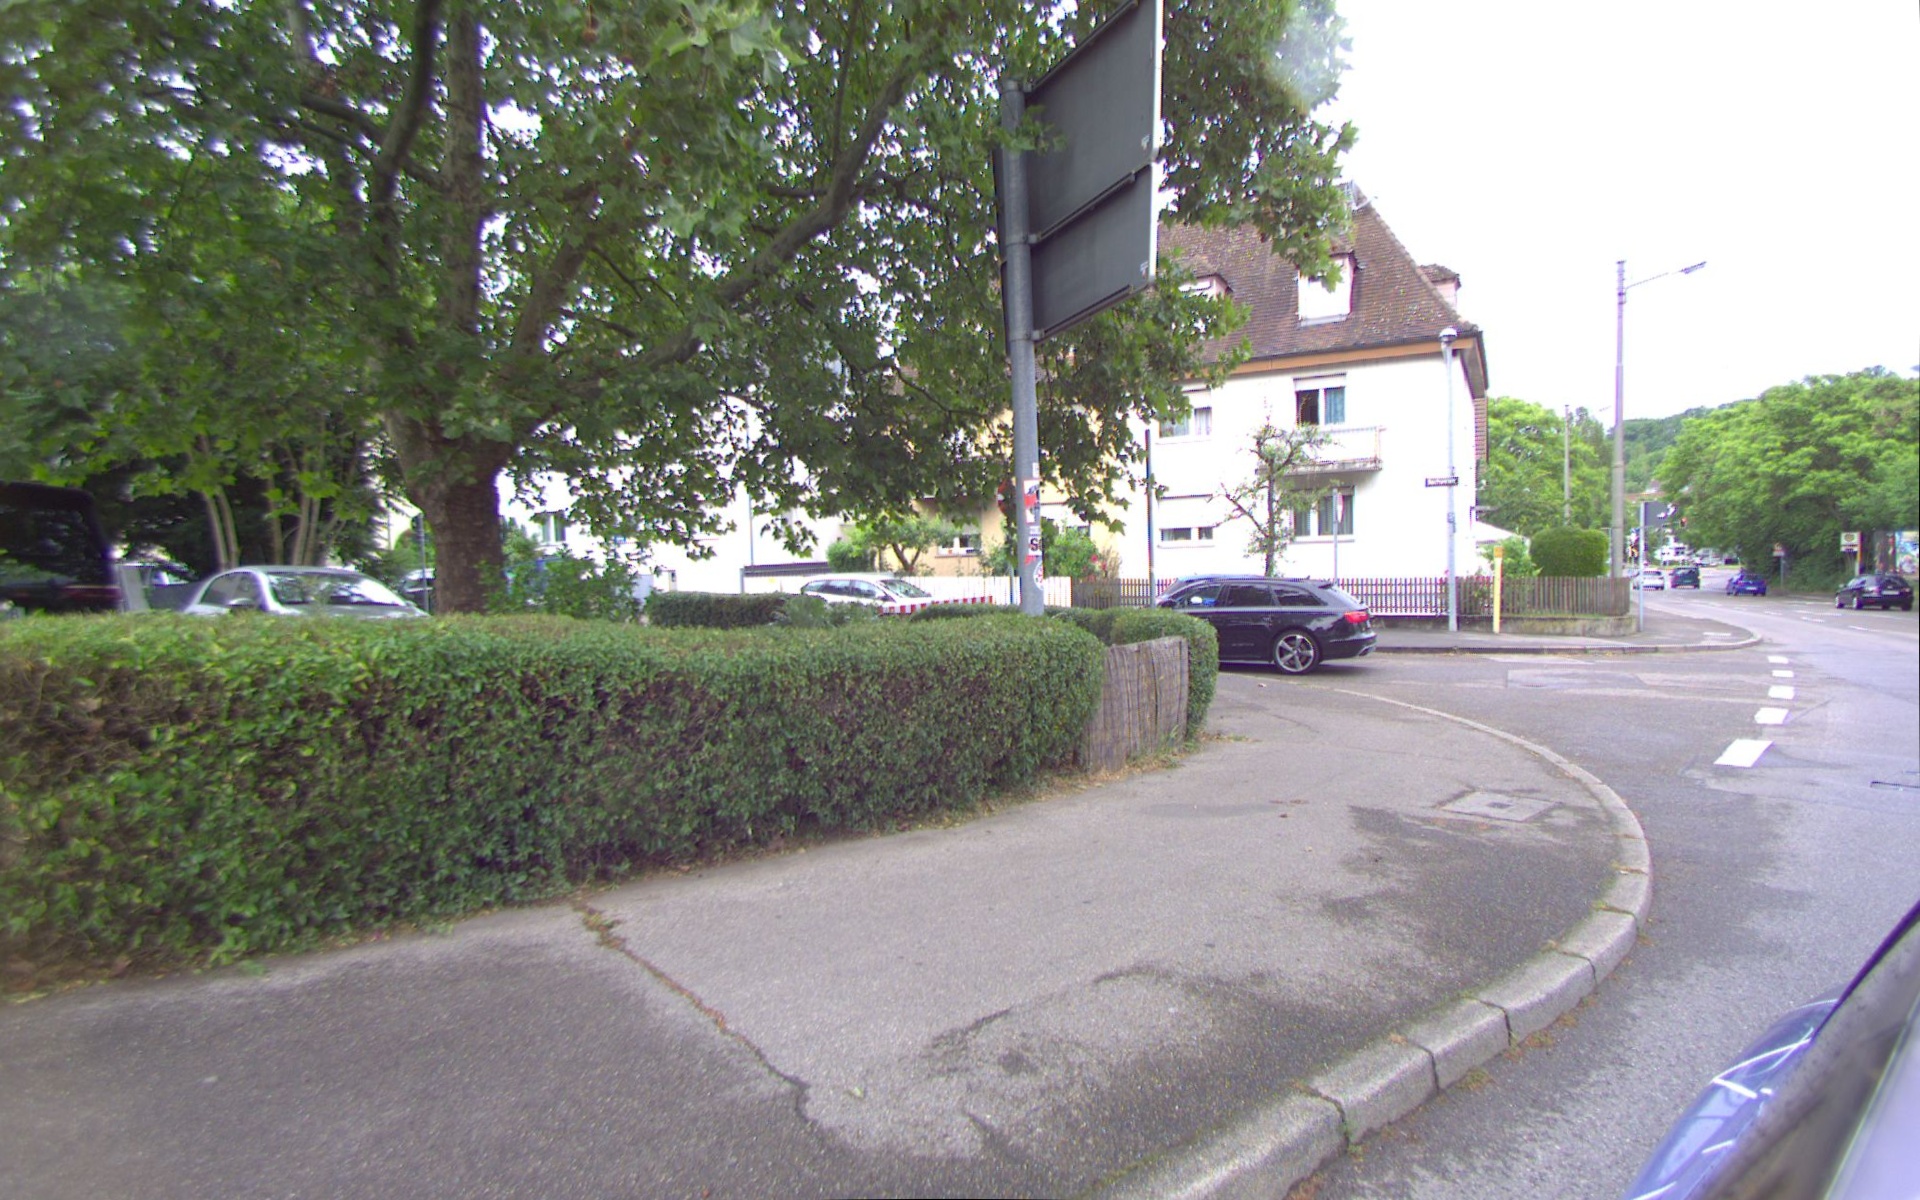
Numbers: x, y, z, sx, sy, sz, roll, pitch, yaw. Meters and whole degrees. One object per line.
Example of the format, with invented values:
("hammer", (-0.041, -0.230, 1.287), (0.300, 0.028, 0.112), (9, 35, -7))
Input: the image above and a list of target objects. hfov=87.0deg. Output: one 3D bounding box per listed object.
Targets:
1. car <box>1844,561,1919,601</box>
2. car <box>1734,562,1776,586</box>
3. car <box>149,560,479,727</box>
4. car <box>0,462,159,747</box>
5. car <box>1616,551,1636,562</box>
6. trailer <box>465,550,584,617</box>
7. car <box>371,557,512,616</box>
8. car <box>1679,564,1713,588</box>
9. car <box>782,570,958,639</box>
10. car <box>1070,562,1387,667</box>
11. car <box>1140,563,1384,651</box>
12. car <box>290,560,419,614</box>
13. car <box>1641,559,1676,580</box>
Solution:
("car", (38.015, -0.787, 41.533), (1.833, 1.588, 4.364), (1, 1, 31))
("car", (49.966, -1.657, 63.667), (1.589, 1.443, 3.658), (0, 2, 30))
("car", (-7.456, 0.367, 11.580), (3.974, 1.599, 1.800), (1, 2, 35))
("car", (-8.546, 0.005, 7.984), (4.376, 1.956, 1.980), (1, 2, 29))
("car", (89.593, -5.824, 136.222), (1.884, 1.479, 3.961), (1, 2, 28))
("trailer", (-13.937, -0.543, 32.372), (3.456, 2.038, 1.657), (1, 1, 26))
("car", (-17.519, -0.484, 34.179), (4.535, 1.862, 1.982), (1, 2, 28))
("car", (62.812, -2.065, 86.387), (1.949, 1.955, 4.632), (1, 2, 31))
("car", (-2.093, 0.064, 23.402), (3.752, 1.471, 1.754), (1, 1, 30))
("car", (4.362, 0.151, 16.549), (4.768, 1.498, 1.870), (1, 2, 25))
("car", (5.677, 0.057, 19.153), (4.095, 1.498, 1.865), (1, 2, 32))
("car", (-22.088, -0.494, 36.894), (4.535, 1.862, 1.982), (1, 2, 28))
("car", (55.818, -2.433, 80.907), (1.820, 1.598, 4.293), (-1, 2, 28))
